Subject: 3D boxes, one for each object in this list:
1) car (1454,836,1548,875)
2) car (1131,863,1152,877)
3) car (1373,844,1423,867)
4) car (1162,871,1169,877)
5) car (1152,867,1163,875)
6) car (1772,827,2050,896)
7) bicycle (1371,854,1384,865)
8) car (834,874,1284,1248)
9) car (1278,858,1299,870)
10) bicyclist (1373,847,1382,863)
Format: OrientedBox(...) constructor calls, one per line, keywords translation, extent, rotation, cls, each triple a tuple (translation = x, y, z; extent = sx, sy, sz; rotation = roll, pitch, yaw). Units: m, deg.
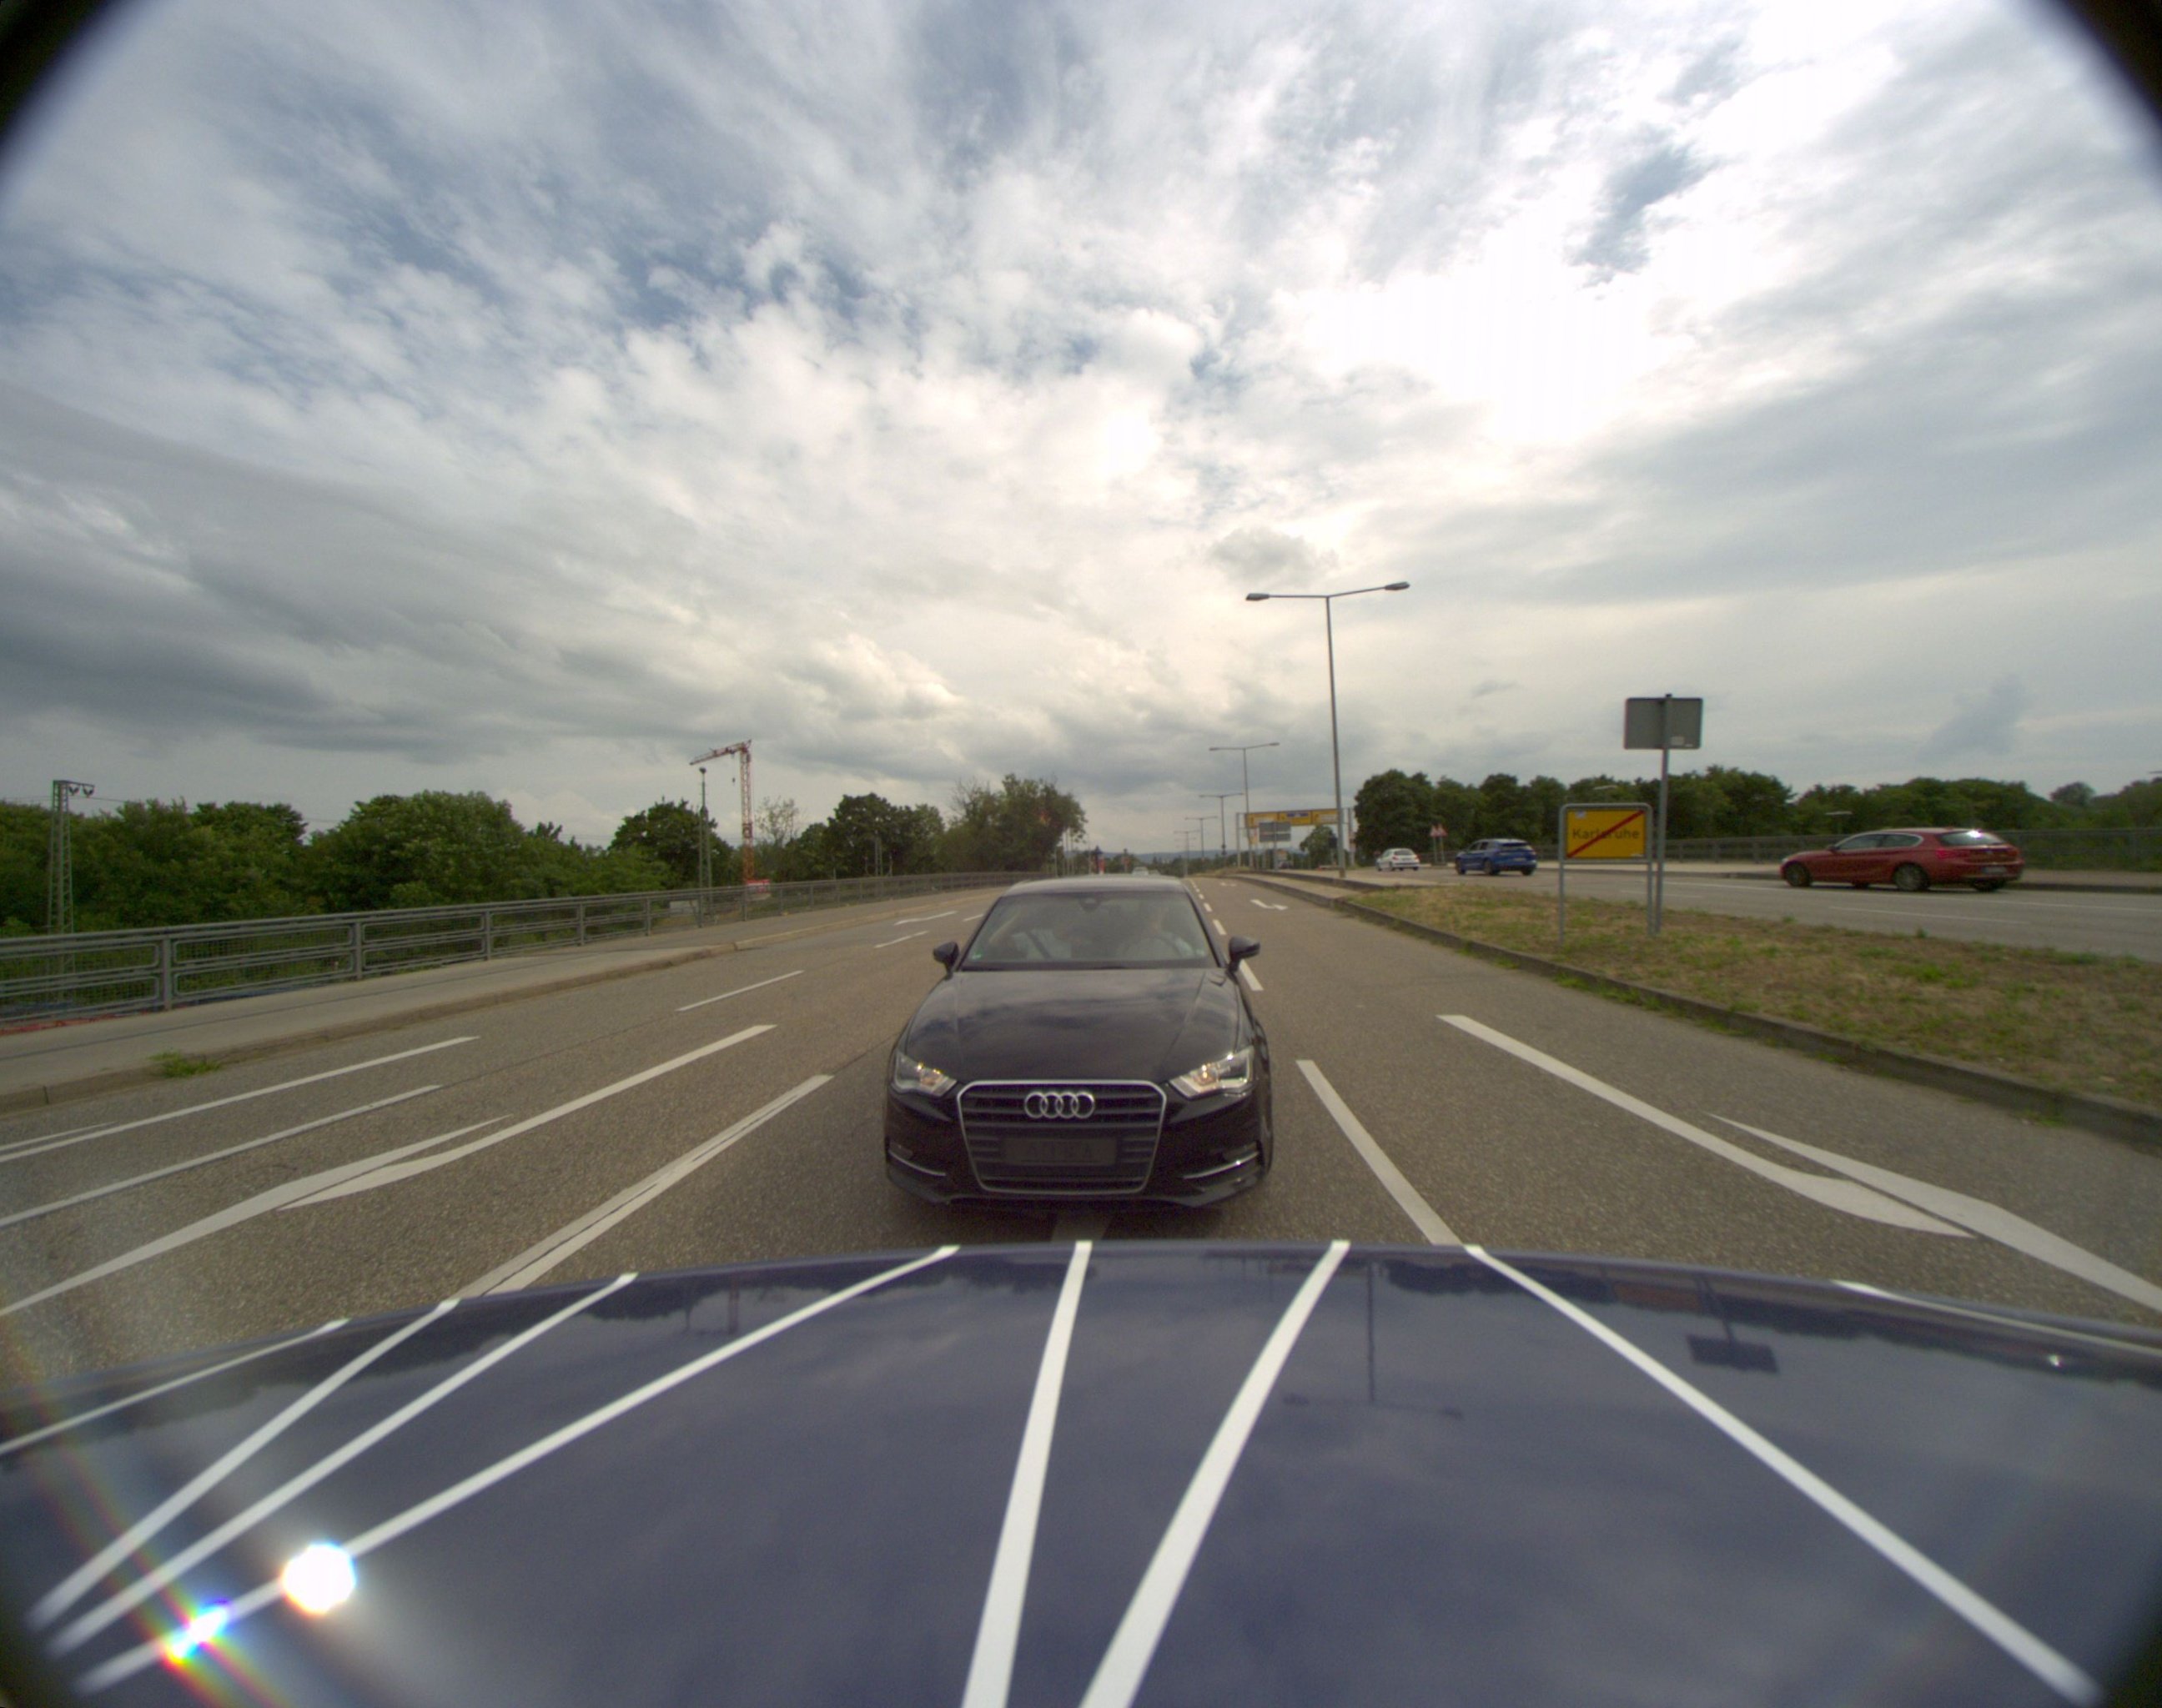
OrientedBox(translation=(18.569, 0.048, 33.852), extent=(1.947, 1.551, 4.464), rotation=(-2, 0, 4), cls="car")
OrientedBox(translation=(6.270, 1.615, 78.555), extent=(1.860, 1.335, 4.002), rotation=(-2, 0, 7), cls="car")
OrientedBox(translation=(21.009, 0.080, 50.494), extent=(1.730, 1.437, 3.876), rotation=(-2, 1, 1), cls="car")
OrientedBox(translation=(24.079, 5.729, 217.291), extent=(1.860, 1.335, 4.002), rotation=(-2, 0, 7), cls="car")
OrientedBox(translation=(13.054, 2.884, 129.403), extent=(1.860, 1.335, 4.002), rotation=(-2, 0, 7), cls="car")
OrientedBox(translation=(19.158, 0.149, 17.886), extent=(1.948, 1.372, 4.214), rotation=(-2, 0, 0), cls="car")
OrientedBox(translation=(31.361, 0.576, 80.352), extent=(0.685, 1.047, 1.995), rotation=(-3, 0, 6), cls="bicycle")
OrientedBox(translation=(0.158, 0.936, 5.528), extent=(1.851, 1.355, 4.731), rotation=(-2, 0, 7), cls="car")
OrientedBox(translation=(25.432, 1.224, 93.187), extent=(1.796, 1.410, 4.002), rotation=(-2, 0, 6), cls="car")
OrientedBox(translation=(31.345, 0.076, 80.300), extent=(0.685, 1.662, 0.848), rotation=(-3, 0, 6), cls="bicyclist")
